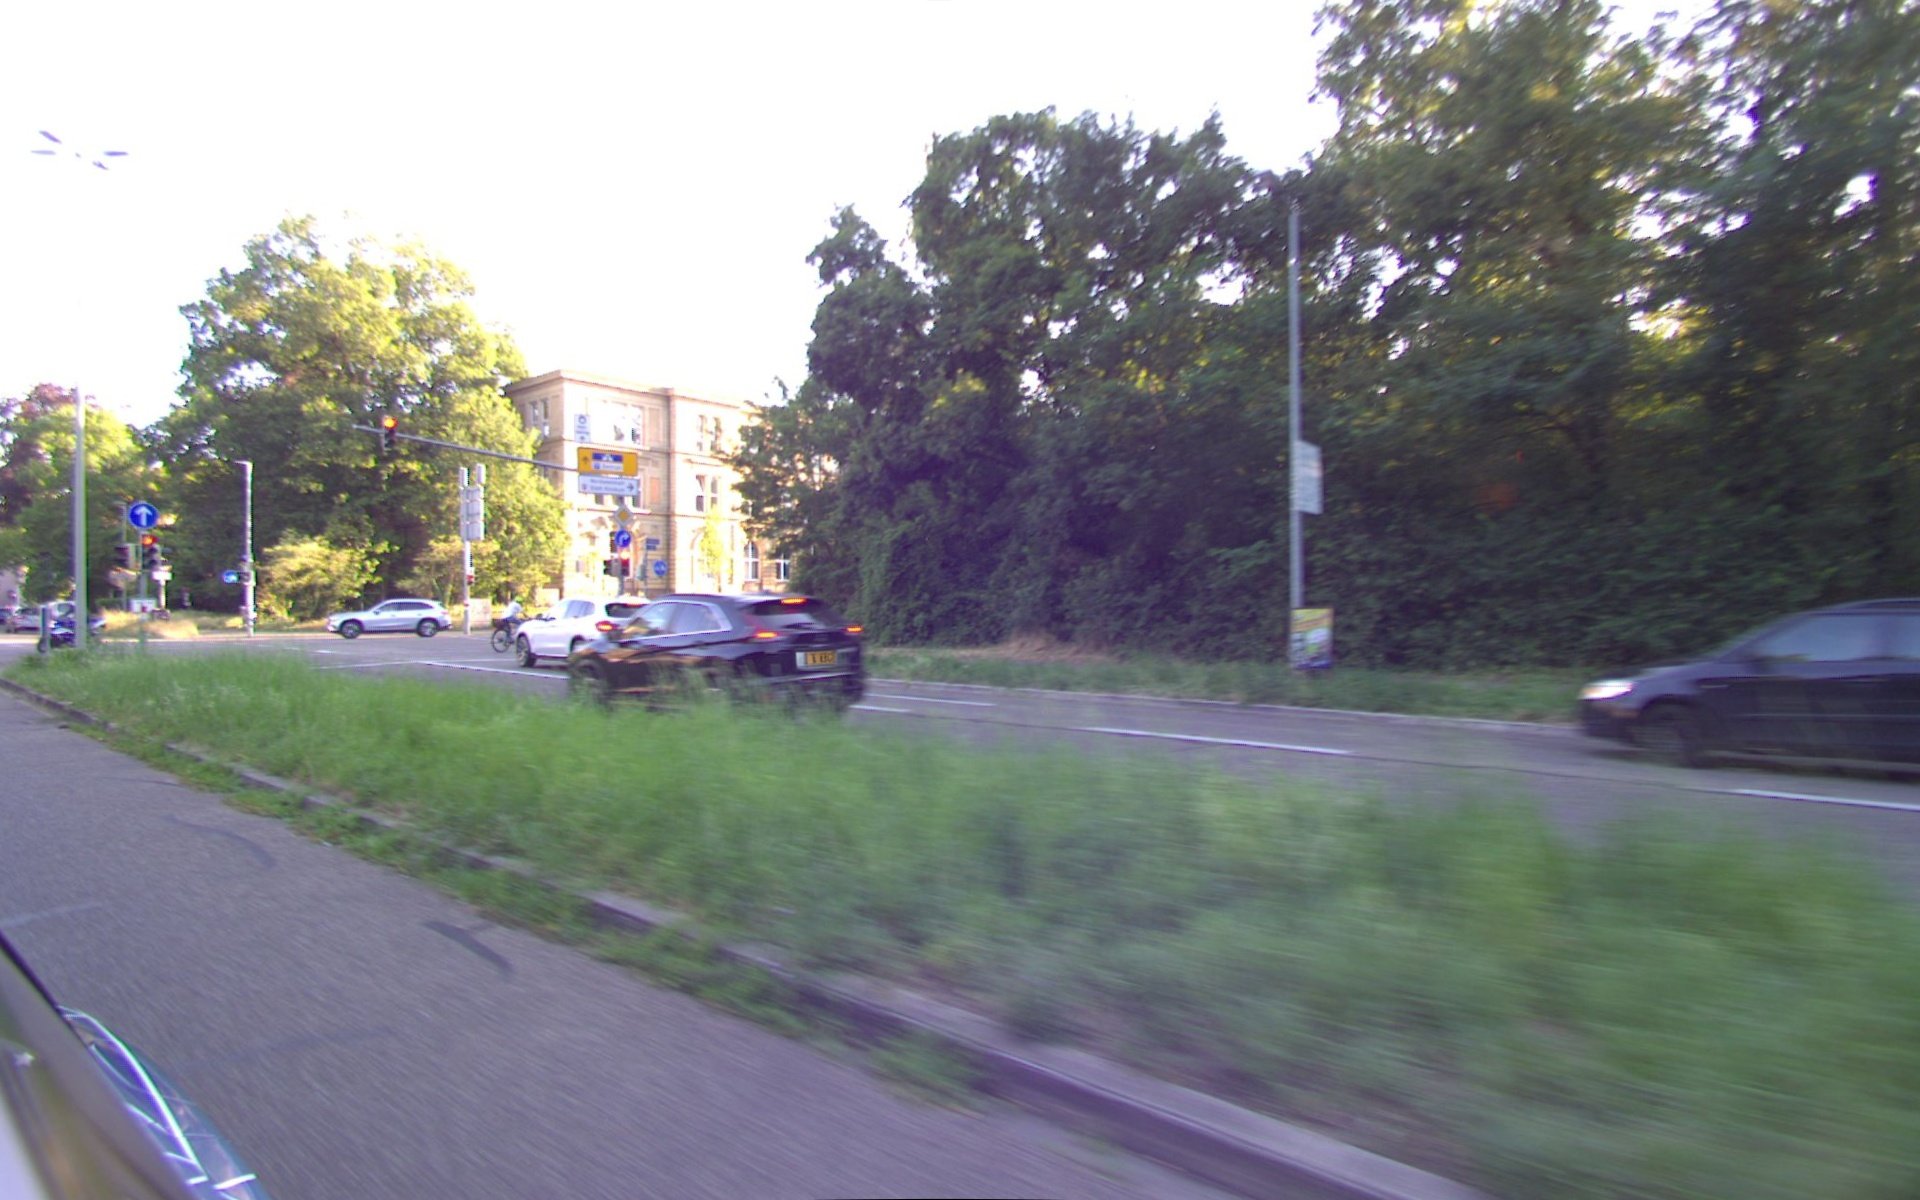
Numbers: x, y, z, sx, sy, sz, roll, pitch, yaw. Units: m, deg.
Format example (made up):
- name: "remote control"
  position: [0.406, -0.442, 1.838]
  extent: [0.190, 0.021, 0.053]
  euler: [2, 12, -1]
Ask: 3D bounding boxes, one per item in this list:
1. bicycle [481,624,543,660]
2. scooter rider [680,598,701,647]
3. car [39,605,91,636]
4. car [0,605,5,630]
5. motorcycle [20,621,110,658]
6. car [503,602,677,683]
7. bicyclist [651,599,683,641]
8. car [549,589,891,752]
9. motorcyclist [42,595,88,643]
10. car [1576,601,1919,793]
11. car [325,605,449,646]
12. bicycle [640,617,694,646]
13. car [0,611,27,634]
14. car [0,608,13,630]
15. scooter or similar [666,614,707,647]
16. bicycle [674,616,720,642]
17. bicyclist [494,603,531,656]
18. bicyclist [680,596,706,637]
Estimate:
- name: "bicycle"
  position: [-13.687, 1.270, 30.981]
  extent: [0.562, 1.022, 1.785]
  euler: [-1, -1, 27]
- name: "scooter rider"
  position: [-9.996, 0.823, 37.536]
  extent: [0.567, 1.780, 0.498]
  euler: [-1, -1, 42]
- name: "car"
  position: [-55.596, 1.255, 62.862]
  extent: [4.117, 1.859, 1.838]
  euler: [-1, -1, 40]
- name: "car"
  position: [-85.945, 1.535, 89.384]
  extent: [3.999, 2.029, 1.973]
  euler: [1, 0, 41]
- name: "motorcycle"
  position: [-25.915, 1.133, 29.346]
  extent: [0.749, 1.009, 1.870]
  euler: [-1, -1, 15]
- name: "car"
  position: [-8.389, 0.913, 22.729]
  extent: [4.642, 1.625, 1.801]
  euler: [-1, -3, 44]
- name: "bicyclist"
  position: [-11.032, 0.741, 38.119]
  extent: [0.759, 1.529, 0.848]
  euler: [0, 0, 30]
- name: "car"
  position: [-3.051, 0.751, 12.324]
  extent: [4.449, 1.640, 1.795]
  euler: [-1, -2, 41]
- name: "motorcyclist"
  position: [-25.923, 0.540, 29.321]
  extent: [0.745, 1.368, 0.700]
  euler: [-1, -1, 15]
- name: "car"
  position: [7.909, 0.779, 8.702]
  extent: [4.230, 1.491, 1.804]
  euler: [-1, -2, 41]
- name: "car"
  position: [-24.500, 1.059, 43.344]
  extent: [4.438, 1.648, 1.774]
  euler: [0, -1, -36]
- name: "bicycle"
  position: [-11.018, 1.186, 38.129]
  extent: [0.770, 1.014, 1.995]
  euler: [0, 0, 30]
- name: "car"
  position: [-71.950, 1.704, 76.375]
  extent: [3.999, 1.655, 1.911]
  euler: [-1, -1, 42]
- name: "car"
  position: [-81.563, 1.572, 85.650]
  extent: [4.000, 1.741, 1.775]
  euler: [1, 0, 42]
- name: "scooter or similar"
  position: [-10.103, 1.124, 37.413]
  extent: [0.563, 1.198, 1.402]
  euler: [0, -1, 42]
- name: "bicycle"
  position: [-11.067, 1.205, 42.547]
  extent: [0.700, 1.071, 1.801]
  euler: [1, 0, 40]
- name: "bicyclist"
  position: [-13.693, 0.886, 30.970]
  extent: [0.553, 1.581, 0.890]
  euler: [-1, -1, 27]
- name: "bicyclist"
  position: [-11.184, 0.687, 42.398]
  extent: [0.700, 1.679, 0.787]
  euler: [1, 0, 40]
